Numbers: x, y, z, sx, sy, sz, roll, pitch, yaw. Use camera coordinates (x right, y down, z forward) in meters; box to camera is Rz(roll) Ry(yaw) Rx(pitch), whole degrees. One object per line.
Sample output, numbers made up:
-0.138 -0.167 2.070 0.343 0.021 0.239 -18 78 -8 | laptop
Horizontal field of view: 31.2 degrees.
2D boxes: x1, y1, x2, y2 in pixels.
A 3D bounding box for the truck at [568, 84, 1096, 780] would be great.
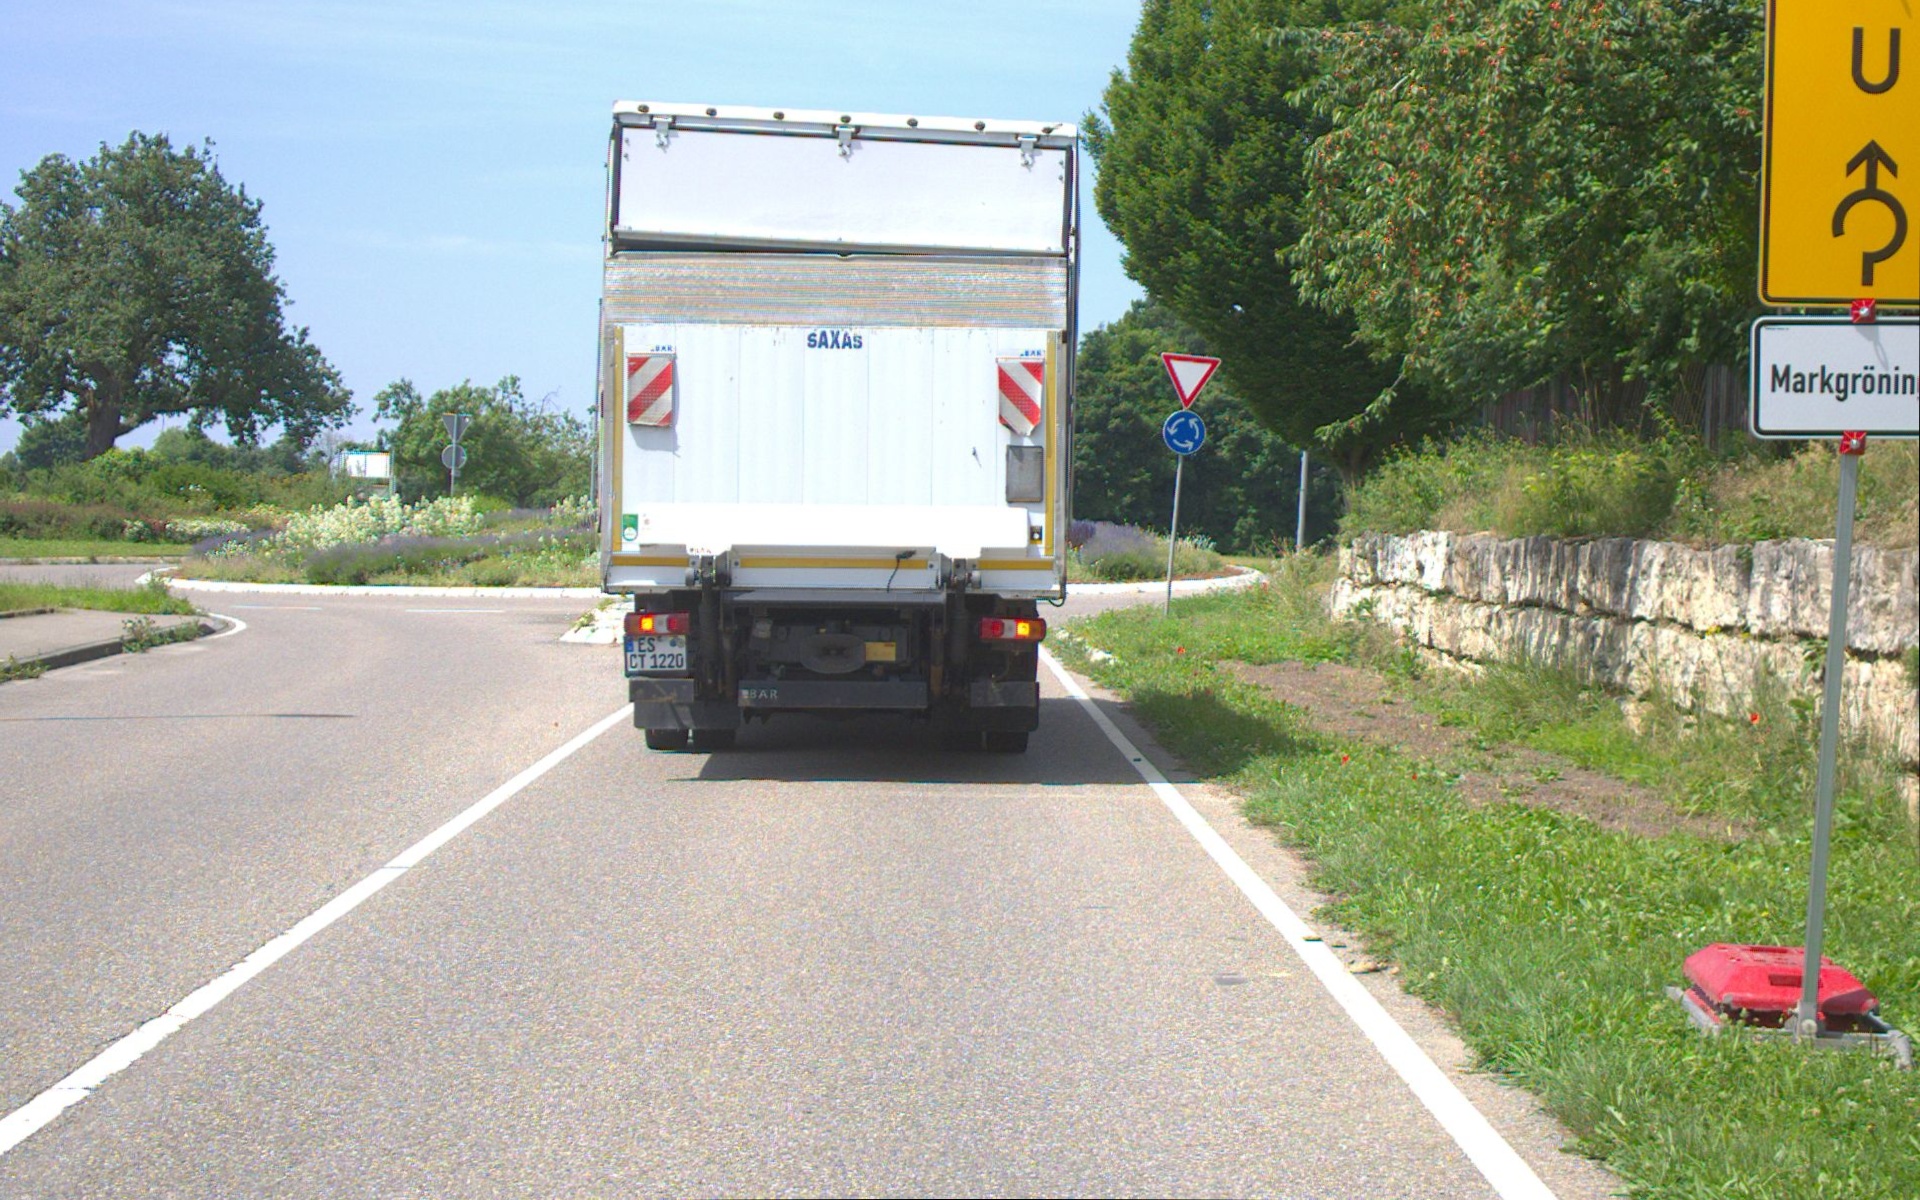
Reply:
-0.843 -1.026 22.911 2.766 3.658 9.384 0 2 -2 | truck
